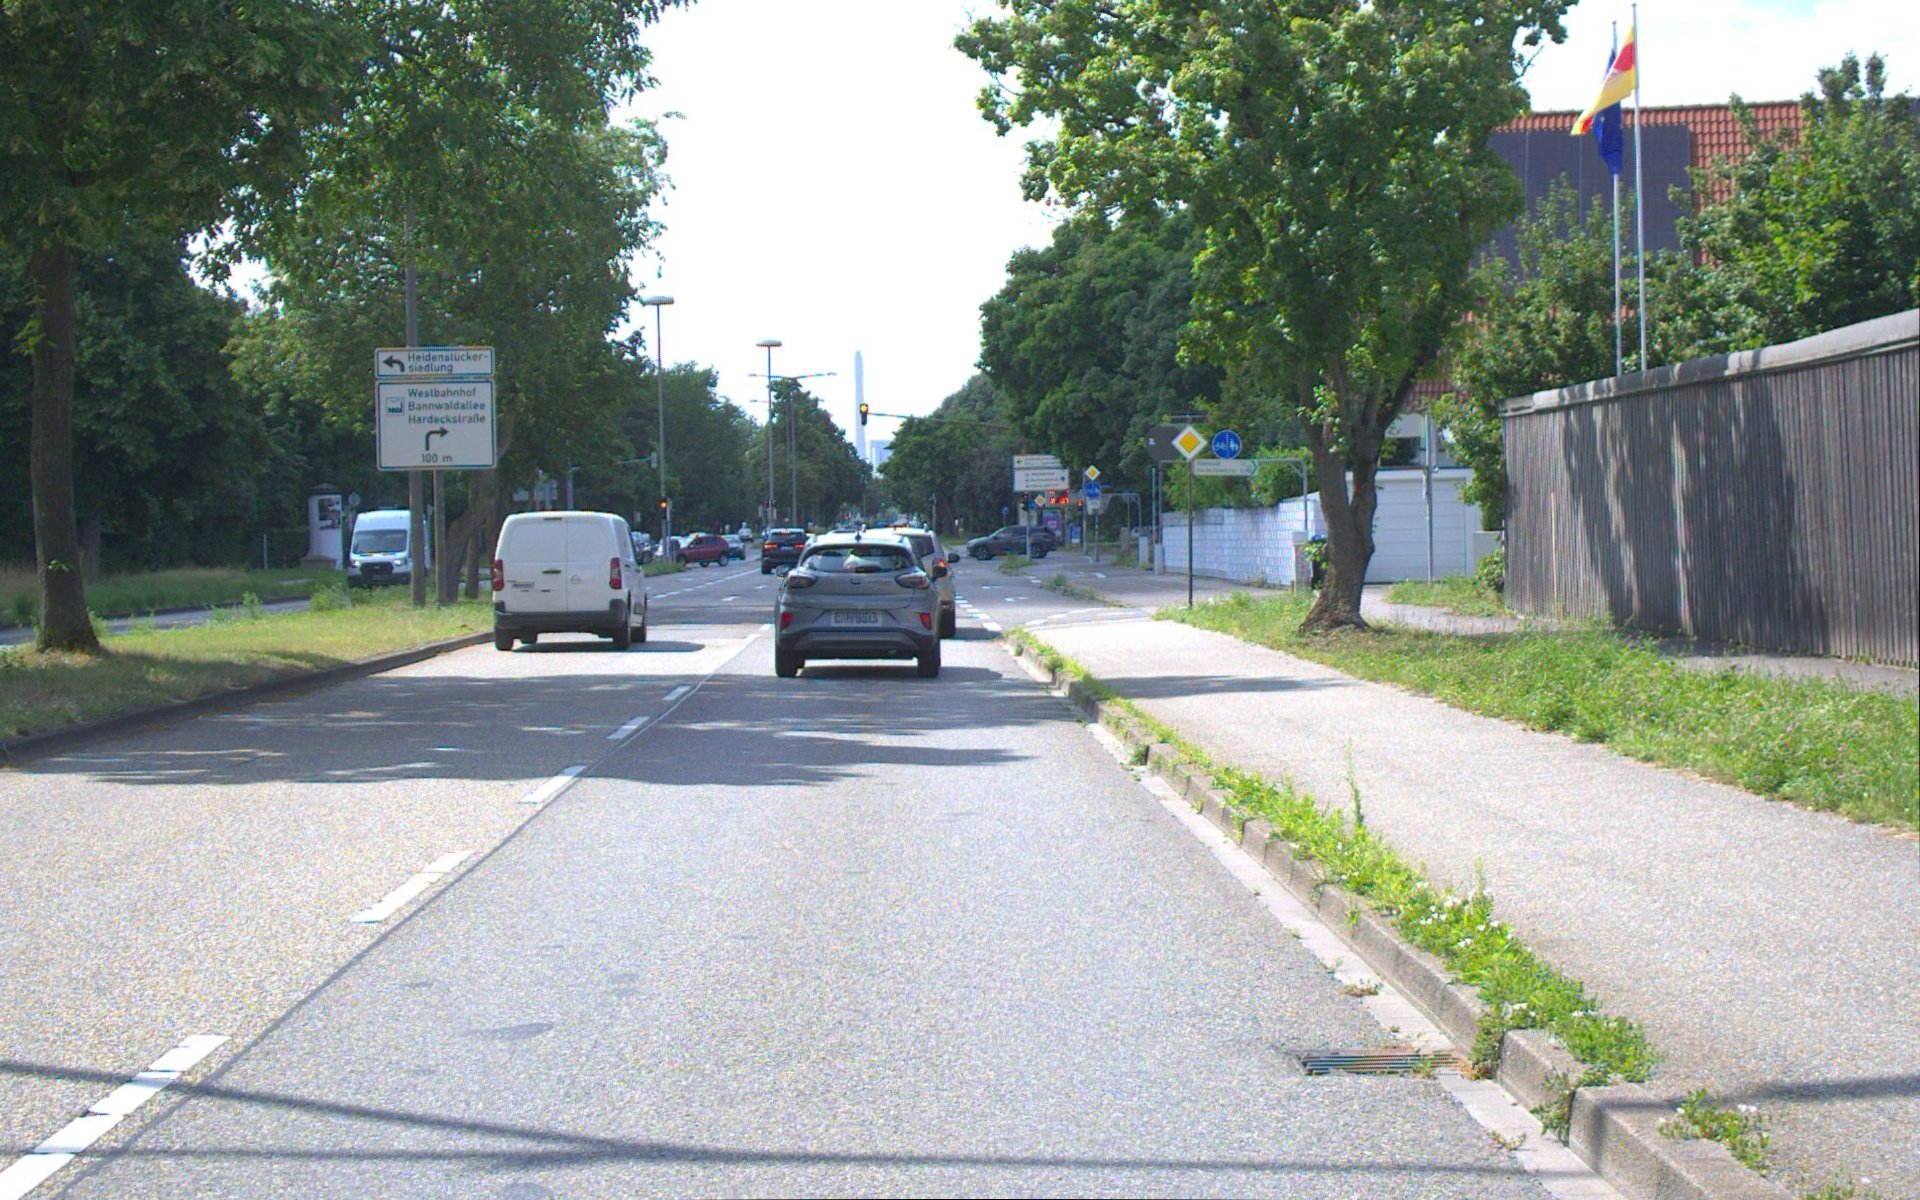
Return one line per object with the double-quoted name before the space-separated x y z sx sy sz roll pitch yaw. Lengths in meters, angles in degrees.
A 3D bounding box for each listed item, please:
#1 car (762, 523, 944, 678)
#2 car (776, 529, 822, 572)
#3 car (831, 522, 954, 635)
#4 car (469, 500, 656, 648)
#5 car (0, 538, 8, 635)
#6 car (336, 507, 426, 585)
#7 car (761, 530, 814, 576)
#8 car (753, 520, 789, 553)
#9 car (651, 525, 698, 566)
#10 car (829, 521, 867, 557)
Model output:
"car" -1.140 -0.037 37.912 1.875 1.583 4.185 -1 1 -1
"car" -6.803 -2.126 145.968 1.779 1.761 4.169 -1 1 -1
"car" -1.018 -0.356 52.456 1.779 1.637 4.197 -1 1 -1
"car" -5.365 -0.393 46.931 2.066 1.905 4.647 -1 1 -1
"car" -17.821 -0.183 58.716 1.993 1.700 4.193 -1 1 -1
"car" -18.652 -1.761 111.011 2.045 2.423 5.250 -1 1 -1
"car" -6.791 -1.882 135.728 1.941 1.761 4.146 -1 1 -1
"car" -10.398 -3.503 189.107 1.779 1.761 4.151 -1 1 -1
"car" -12.819 -2.458 154.630 1.779 1.761 4.126 -1 1 -1
"car" -5.623 -3.058 172.715 1.779 1.761 4.000 -1 1 -1
